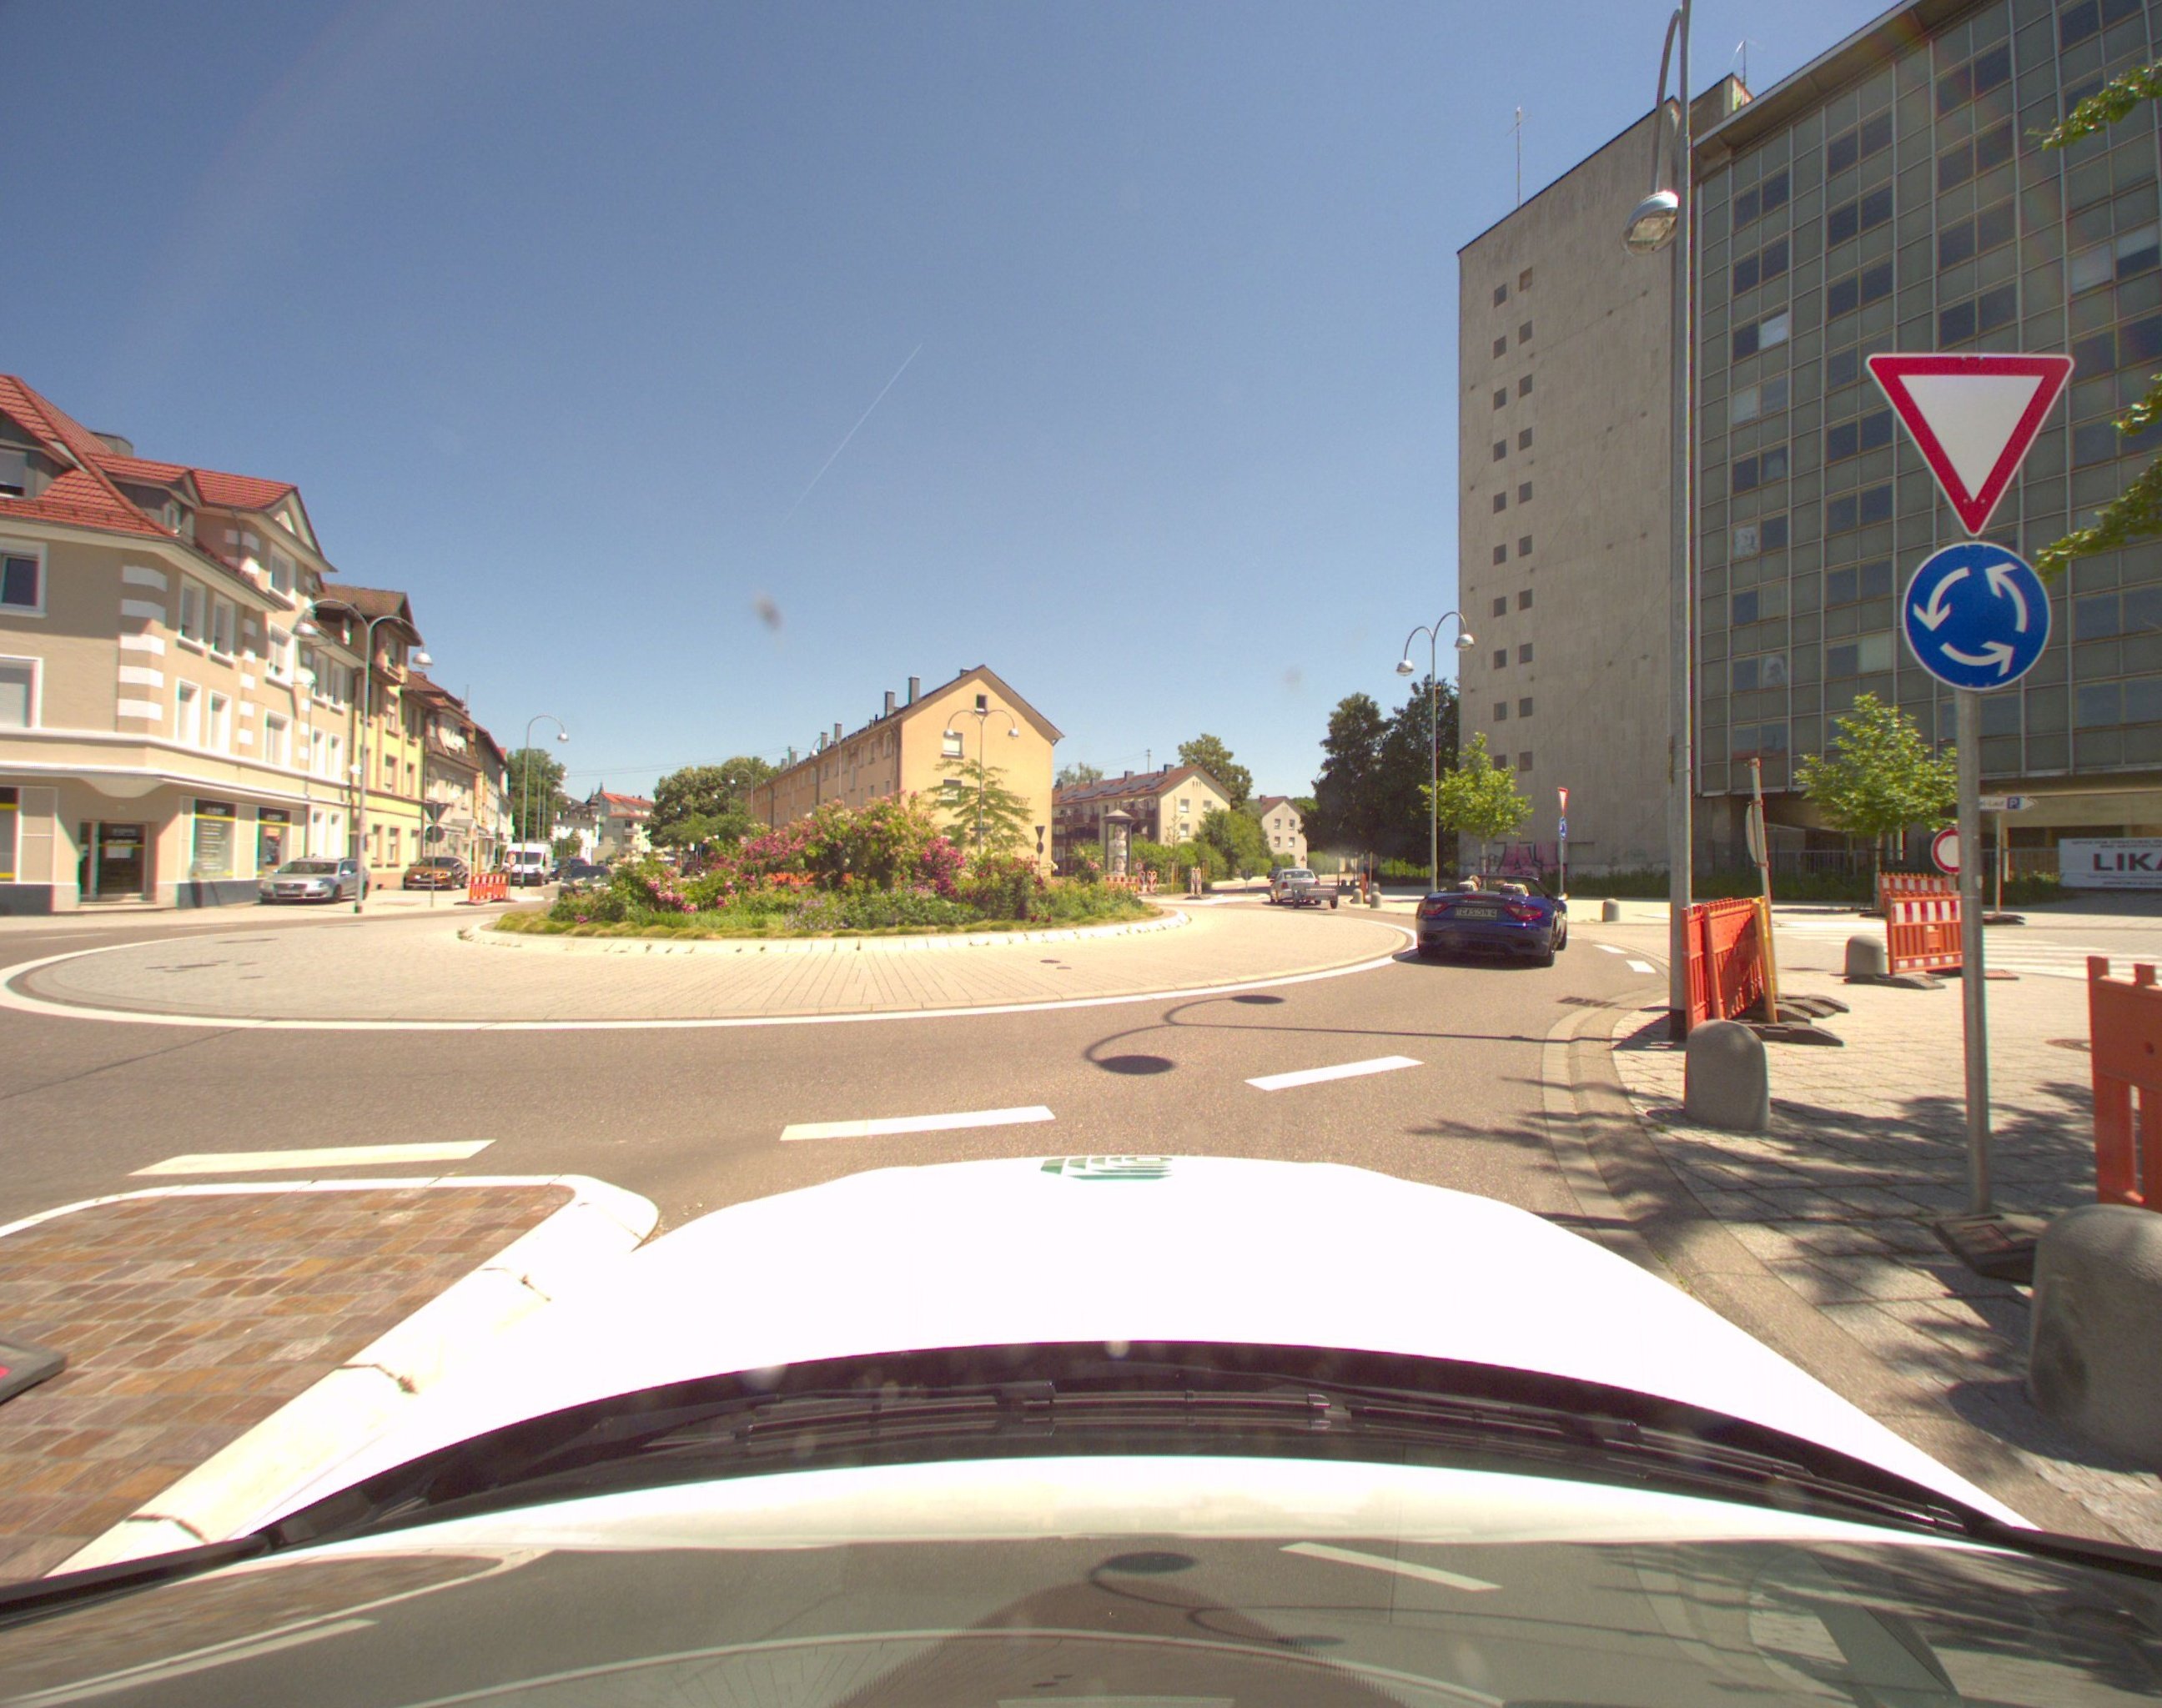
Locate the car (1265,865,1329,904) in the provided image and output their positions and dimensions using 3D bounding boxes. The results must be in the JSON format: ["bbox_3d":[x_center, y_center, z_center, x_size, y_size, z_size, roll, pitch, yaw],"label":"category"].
[{"bbox_3d":[8.532,1.175,32.452,1.731,1.436,3.714,-1,-1,3],"label":"car"}]

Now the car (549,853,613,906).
[{"bbox_3d":[-20.387,1.032,33.336,2.006,2.014,3.961,3,-2,-30],"label":"car"}]

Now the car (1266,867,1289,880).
[{"bbox_3d":[23.166,2.339,95.863,1.722,1.436,3.732,-2,-1,27],"label":"car"}]

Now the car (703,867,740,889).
[{"bbox_3d":[-25.708,1.680,58.232,1.824,1.500,3.959,3,-2,-32],"label":"car"}]

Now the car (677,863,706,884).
[{"bbox_3d":[-34.438,1.714,71.986,1.824,1.794,3.959,3,-2,-32],"label":"car"}]

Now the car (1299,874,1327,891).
[{"bbox_3d":[20.937,2.580,73.474,1.722,1.436,3.732,-2,-1,26],"label":"car"}]

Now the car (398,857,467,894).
[{"bbox_3d":[-30.538,0.992,38.455,1.607,1.617,4.056,3,-2,-26],"label":"car"}]

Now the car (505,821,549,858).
[{"bbox_3d":[-42.353,-1.049,62.362,2.157,2.533,4.810,3,-2,-29],"label":"car"}]

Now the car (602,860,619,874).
[{"bbox_3d":[-63.884,1.741,110.618,1.824,1.794,3.959,3,-2,-32],"label":"car"}]

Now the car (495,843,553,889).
[{"bbox_3d":[-33.080,0.734,48.552,2.157,2.533,6.179,3,-2,-29],"label":"car"}]

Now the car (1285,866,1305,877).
[{"bbox_3d":[28.171,2.310,107.313,1.722,1.436,3.732,-2,-1,27],"label":"car"}]

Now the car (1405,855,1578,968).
[{"bbox_3d":[6.901,0.859,13.422,1.852,1.530,4.534,-1,-2,36],"label":"car"}]

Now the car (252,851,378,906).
[{"bbox_3d":[-25.670,0.794,27.496,1.785,1.686,4.653,1,-1,-27],"label":"car"}]
